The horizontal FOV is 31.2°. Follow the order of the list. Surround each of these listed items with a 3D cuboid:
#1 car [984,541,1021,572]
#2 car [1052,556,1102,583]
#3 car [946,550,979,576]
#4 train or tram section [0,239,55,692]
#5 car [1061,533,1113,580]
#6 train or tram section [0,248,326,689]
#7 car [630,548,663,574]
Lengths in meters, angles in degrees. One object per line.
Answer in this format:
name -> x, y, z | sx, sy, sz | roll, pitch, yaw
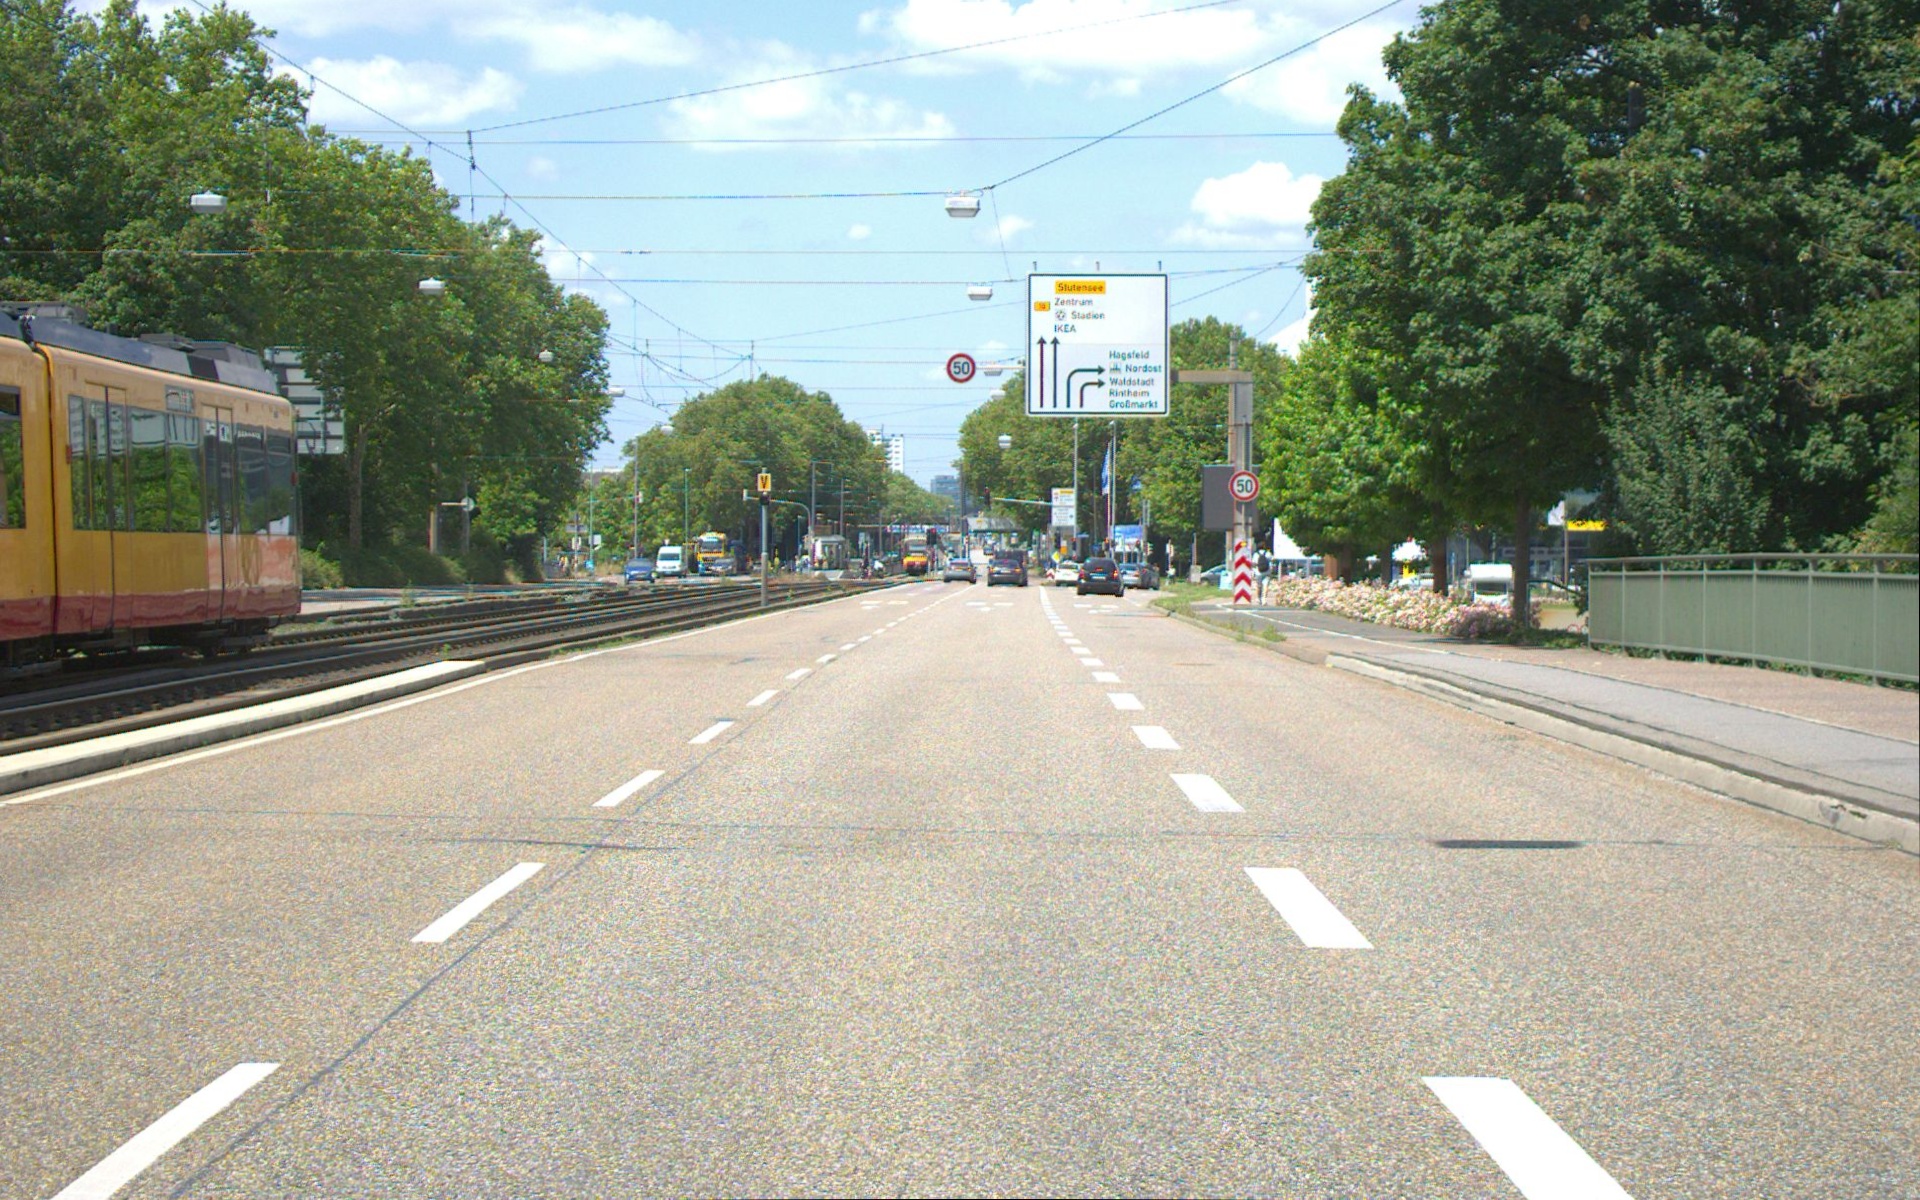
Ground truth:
car -> 2.230, -2.278, 181.054 | 1.876, 1.534, 3.777 | 2, 1, 0
car -> 7.246, -1.876, 212.809 | 1.687, 1.544, 3.979 | 3, 1, 23
car -> 0.132, -2.277, 211.151 | 1.842, 1.544, 3.777 | 2, 1, -1
train or tram section -> -10.298, -1.164, 28.104 | 3.038, 4.134, 10.233 | 0, 1, 0
car -> 5.206, -1.785, 140.973 | 1.899, 1.799, 3.977 | 2, 1, 0
train or tram section -> -10.167, -1.356, 39.233 | 3.038, 4.126, 13.982 | 0, 1, 1
car -> -18.918, -2.366, 207.820 | 1.644, 1.545, 4.217 | 2, 1, -1
